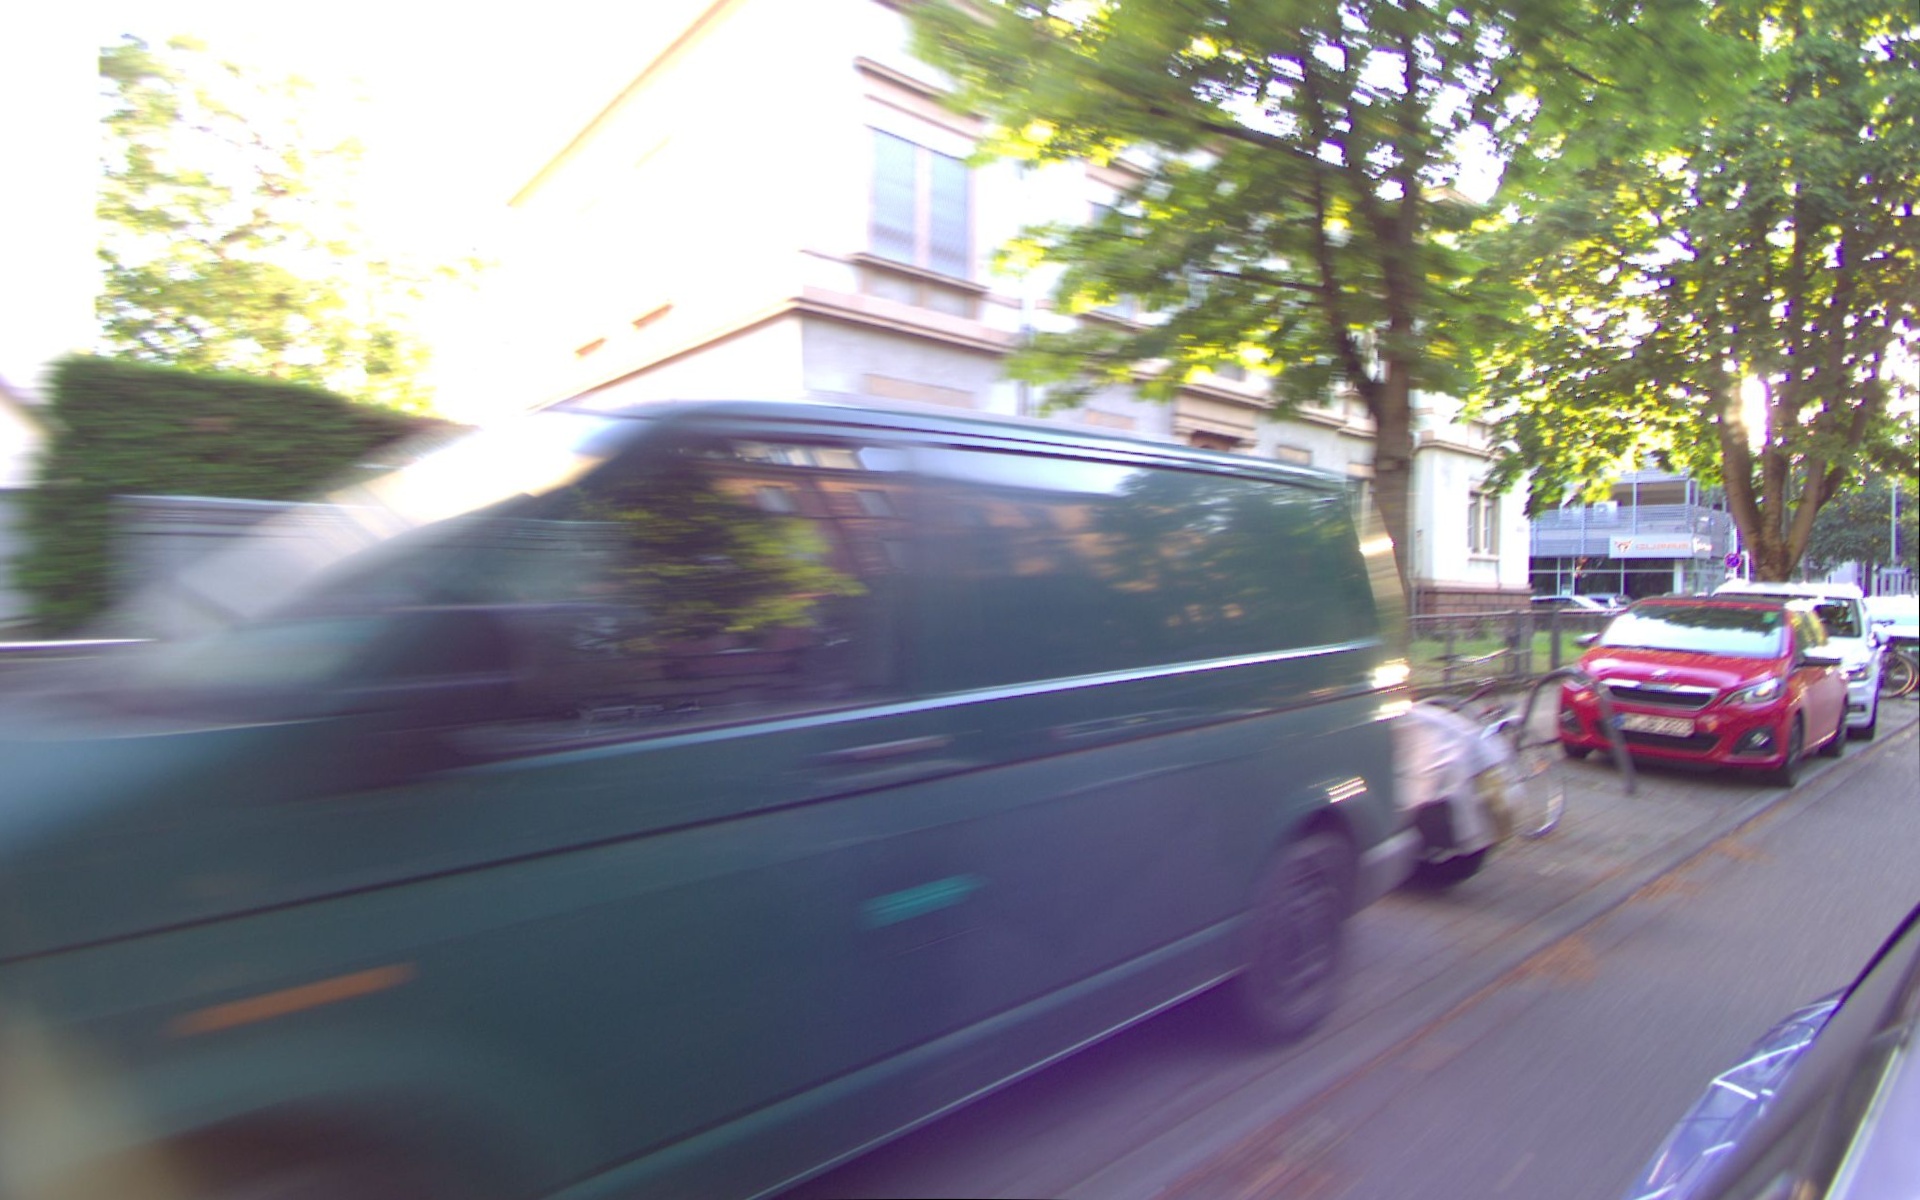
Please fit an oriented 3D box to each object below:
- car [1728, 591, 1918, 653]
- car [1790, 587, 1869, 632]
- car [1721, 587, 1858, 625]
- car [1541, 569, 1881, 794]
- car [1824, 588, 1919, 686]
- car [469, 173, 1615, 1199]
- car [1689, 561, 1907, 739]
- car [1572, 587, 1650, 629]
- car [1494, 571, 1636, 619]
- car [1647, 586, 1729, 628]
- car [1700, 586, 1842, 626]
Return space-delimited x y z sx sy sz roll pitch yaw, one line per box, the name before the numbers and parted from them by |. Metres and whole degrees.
car | 23.282 0.550 27.545 1.780 1.520 4.166 2 0 5
car | 32.986 0.348 38.365 3.835 1.592 1.765 1 0 -42
car | 37.351 0.239 45.666 1.840 1.637 4.584 1 0 -41
car | 6.722 0.570 8.932 3.630 1.518 1.667 1 3 -42
car | 17.213 0.649 18.319 3.892 1.576 1.735 1 3 -40
car | 0.808 0.222 4.213 4.746 2.084 1.958 1 3 -42
car | 10.028 0.484 12.073 1.664 1.699 4.057 4 3 42
car | 28.108 0.306 43.677 3.626 1.611 1.706 -2 2 -37
car | 20.932 -0.224 35.139 1.603 1.564 3.941 0 1 -37
car | 29.835 0.239 41.450 4.053 1.626 1.716 -1 1 -39
car | 35.316 0.229 44.164 1.840 1.664 4.584 1 0 -41
